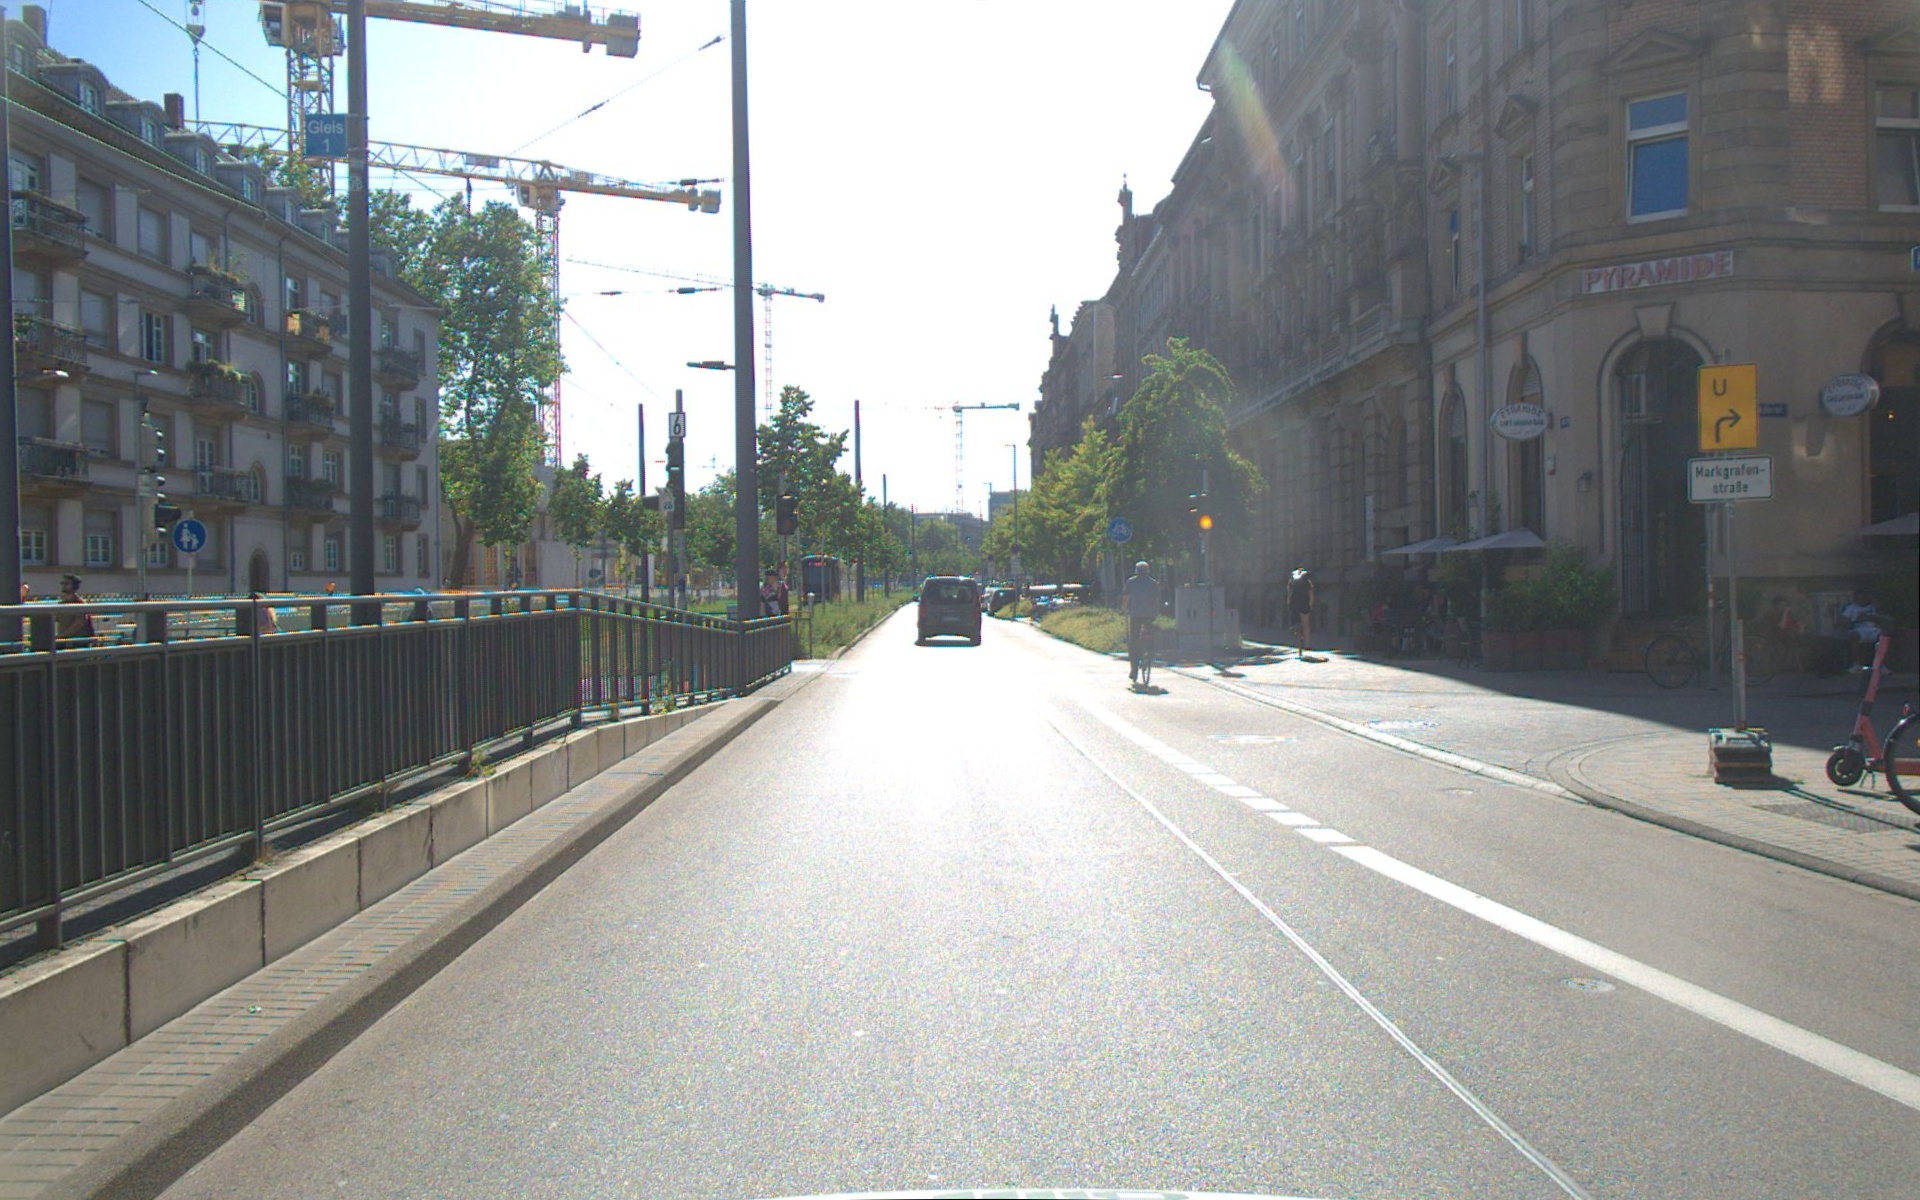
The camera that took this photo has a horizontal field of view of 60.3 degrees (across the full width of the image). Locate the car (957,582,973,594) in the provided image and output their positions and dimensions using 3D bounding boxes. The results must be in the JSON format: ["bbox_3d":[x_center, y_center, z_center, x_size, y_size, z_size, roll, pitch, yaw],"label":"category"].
[{"bbox_3d":[0.669,-1.570,223.027,1.987,1.525,4.330,-1,0,-2],"label":"car"}]

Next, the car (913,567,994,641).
[{"bbox_3d":[-0.230,0.091,46.845,2.156,1.960,4.653,-1,0,-2],"label":"car"}]

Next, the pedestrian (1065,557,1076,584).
[{"bbox_3d":[6.783,-1.841,101.777,0.601,1.640,0.668,-1,0,-2],"label":"pedestrian"}]

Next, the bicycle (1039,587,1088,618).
[{"bbox_3d":[4.017,0.100,64.132,1.757,1.048,0.527,-5,1,-2],"label":"bicycle"}]

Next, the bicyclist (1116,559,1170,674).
[{"bbox_3d":[2.780,0.244,25.215,0.670,1.702,0.922,1,0,-2],"label":"bicyclist"}]

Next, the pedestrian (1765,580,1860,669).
[{"bbox_3d":[12.193,0.340,23.686,0.833,1.235,0.932,0,0,-8],"label":"pedestrian"}]

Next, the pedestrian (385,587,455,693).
[{"bbox_3d":[-8.149,0.590,24.991,0.796,1.563,0.798,0,0,0],"label":"pedestrian"}]

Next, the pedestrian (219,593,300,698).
[{"bbox_3d":[-10.573,0.674,24.996,0.847,1.563,0.909,0,0,-1],"label":"pedestrian"}]

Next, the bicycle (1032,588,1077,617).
[{"bbox_3d":[3.924,0.108,68.516,1.757,1.048,0.527,-5,1,-2],"label":"bicycle"}]

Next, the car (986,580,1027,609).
[{"bbox_3d":[2.559,-0.332,91.905,1.987,1.525,4.653,-1,0,-2],"label":"car"}]

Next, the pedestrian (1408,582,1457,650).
[{"bbox_3d":[9.033,0.299,31.665,0.692,1.258,0.635,-3,0,-2],"label":"pedestrian"}]

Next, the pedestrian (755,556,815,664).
[{"bbox_3d":[-3.247,0.178,30.696,1.055,1.942,0.652,-1,0,-8],"label":"pedestrian"}]

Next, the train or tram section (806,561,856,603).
[{"bbox_3d":[-8.956,-1.182,115.826,2.699,2.790,9.863,0,0,0],"label":"train or tram section"}]

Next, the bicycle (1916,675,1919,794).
[{"bbox_3d":[6.571,0.843,9.610,1.635,0.835,0.607,-2,1,5],"label":"bicycle"}]

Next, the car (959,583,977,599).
[{"bbox_3d":[0.924,-1.028,193.118,1.953,1.870,3.999,0,0,-1],"label":"car"}]

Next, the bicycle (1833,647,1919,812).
[{"bbox_3d":[6.420,0.775,10.271,1.635,0.960,0.607,-2,1,6],"label":"bicycle"}]

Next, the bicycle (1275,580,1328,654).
[{"bbox_3d":[6.703,0.306,32.533,0.603,1.353,1.900,-5,1,2],"label":"bicycle"}]

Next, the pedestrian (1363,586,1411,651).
[{"bbox_3d":[8.158,0.342,31.634,0.692,1.198,0.635,-3,0,-2],"label":"pedestrian"}]

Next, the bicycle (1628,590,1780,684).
[{"bbox_3d":[10.148,0.497,22.593,1.779,1.191,0.654,-1,4,2],"label":"bicycle"}]

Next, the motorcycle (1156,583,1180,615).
[{"bbox_3d":[8.638,-0.034,68.867,0.686,1.289,1.981,-1,1,-1],"label":"motorcycle"}]

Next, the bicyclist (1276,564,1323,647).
[{"bbox_3d":[6.665,0.094,32.467,0.647,1.556,0.801,-5,1,2],"label":"bicyclist"}]

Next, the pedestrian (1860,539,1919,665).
[{"bbox_3d":[13.730,0.027,23.950,0.889,1.791,0.866,0,0,-8],"label":"pedestrian"}]

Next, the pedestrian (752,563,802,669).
[{"bbox_3d":[-3.207,0.268,28.896,0.848,1.819,0.969,0,0,-8],"label":"pedestrian"}]

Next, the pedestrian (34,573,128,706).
[{"bbox_3d":[-12.297,0.532,23.149,0.891,1.812,0.864,0,0,36],"label":"pedestrian"}]

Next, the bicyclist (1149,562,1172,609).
[{"bbox_3d":[7.192,-0.527,59.255,0.653,1.668,0.960,-1,0,-2],"label":"bicyclist"}]

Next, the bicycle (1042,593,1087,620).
[{"bbox_3d":[4.233,0.249,67.242,1.756,1.048,0.527,-1,0,-2],"label":"bicycle"}]

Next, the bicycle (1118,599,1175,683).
[{"bbox_3d":[2.817,0.602,25.127,0.589,1.201,1.868,1,1,-2],"label":"bicycle"}]

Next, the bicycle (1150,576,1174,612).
[{"bbox_3d":[7.222,-0.232,59.294,0.571,1.244,1.899,-1,1,-1],"label":"bicycle"}]

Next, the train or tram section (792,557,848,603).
[{"bbox_3d":[-8.882,-1.199,105.980,2.699,2.790,9.863,0,0,0],"label":"train or tram section"}]

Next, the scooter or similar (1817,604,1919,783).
[{"bbox_3d":[6.728,0.647,11.689,1.087,1.210,0.419,-2,1,6],"label":"scooter or similar"}]
